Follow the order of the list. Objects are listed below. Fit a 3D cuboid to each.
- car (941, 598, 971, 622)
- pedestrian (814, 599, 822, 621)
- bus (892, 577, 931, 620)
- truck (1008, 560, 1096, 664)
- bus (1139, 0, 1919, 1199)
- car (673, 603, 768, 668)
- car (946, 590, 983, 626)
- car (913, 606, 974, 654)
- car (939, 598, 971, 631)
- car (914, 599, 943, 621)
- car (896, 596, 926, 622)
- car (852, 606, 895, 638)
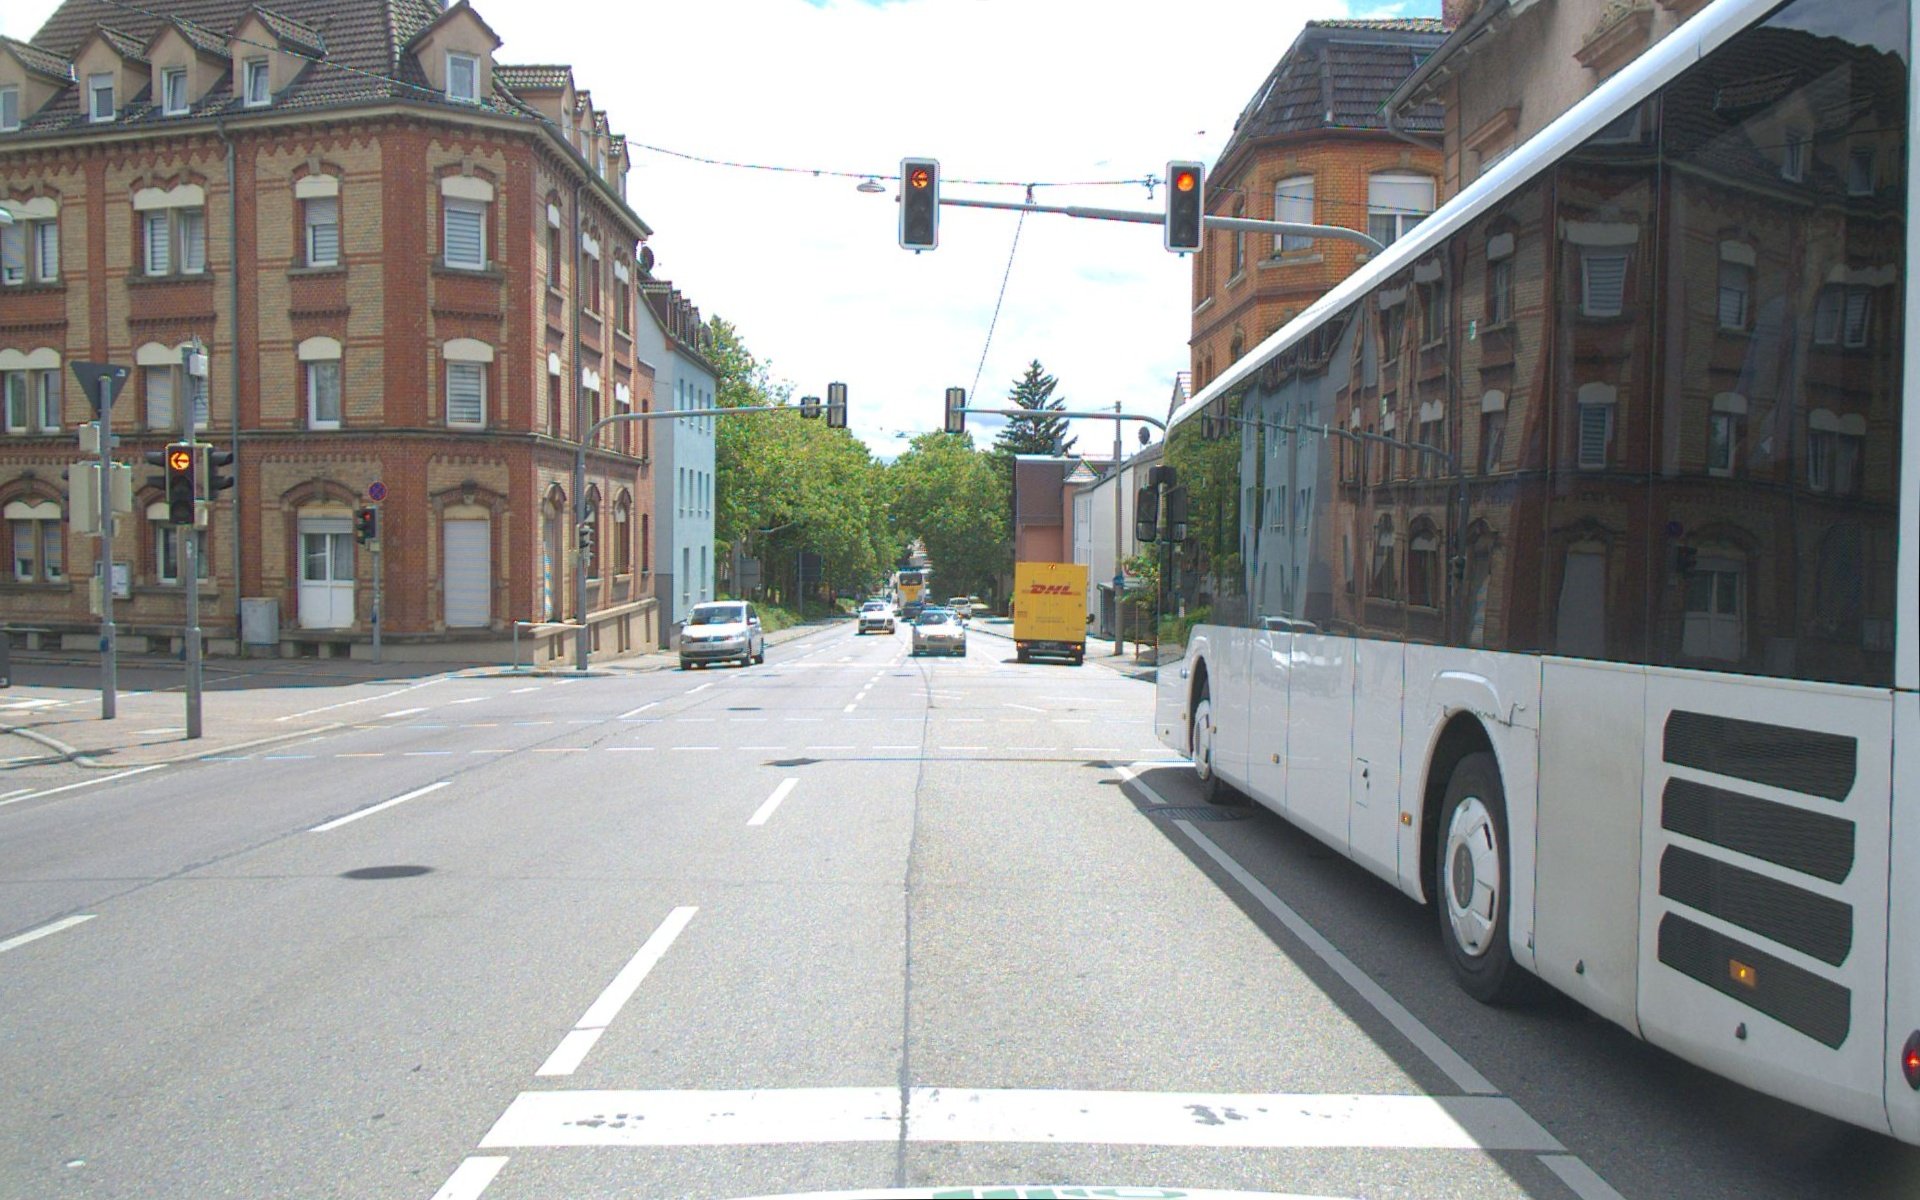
[{"bbox_3d":[-0.312,0.768,129.514,2.050,1.862,4.139,0,0,-4],"label":"car"},{"bbox_3d":[-11.714,0.852,136.545,0.594,1.789,0.653,0,0,-2],"label":"pedestrian"},{"bbox_3d":[-4.440,-0.119,147.968,3.234,3.694,11.238,-1,0,-3],"label":"bus"},{"bbox_3d":[2.787,0.369,50.962,2.488,2.964,6.574,1,0,2],"label":"truck"},{"bbox_3d":[3.224,-0.333,9.351,2.845,3.571,12.484,1,0,-1],"label":"bus"},{"bbox_3d":[-6.191,0.891,43.216,1.896,1.591,4.388,0,0,-1],"label":"car"},{"bbox_3d":[0.242,0.468,96.184,1.954,2.049,3.998,-1,0,-3],"label":"car"},{"bbox_3d":[-0.541,0.914,52.297,1.827,1.391,4.546,0,0,-1],"label":"car"},{"bbox_3d":[-0.327,0.815,95.925,1.782,1.816,3.999,0,0,-1],"label":"car"},{"bbox_3d":[-2.042,0.638,108.528,1.827,1.391,4.546,0,0,-1],"label":"car"},{"bbox_3d":[-3.608,0.670,122.217,2.050,1.862,4.139,0,0,-4],"label":"car"},{"bbox_3d":[-4.642,1.148,89.544,2.162,1.641,4.546,0,0,-1],"label":"car"}]
